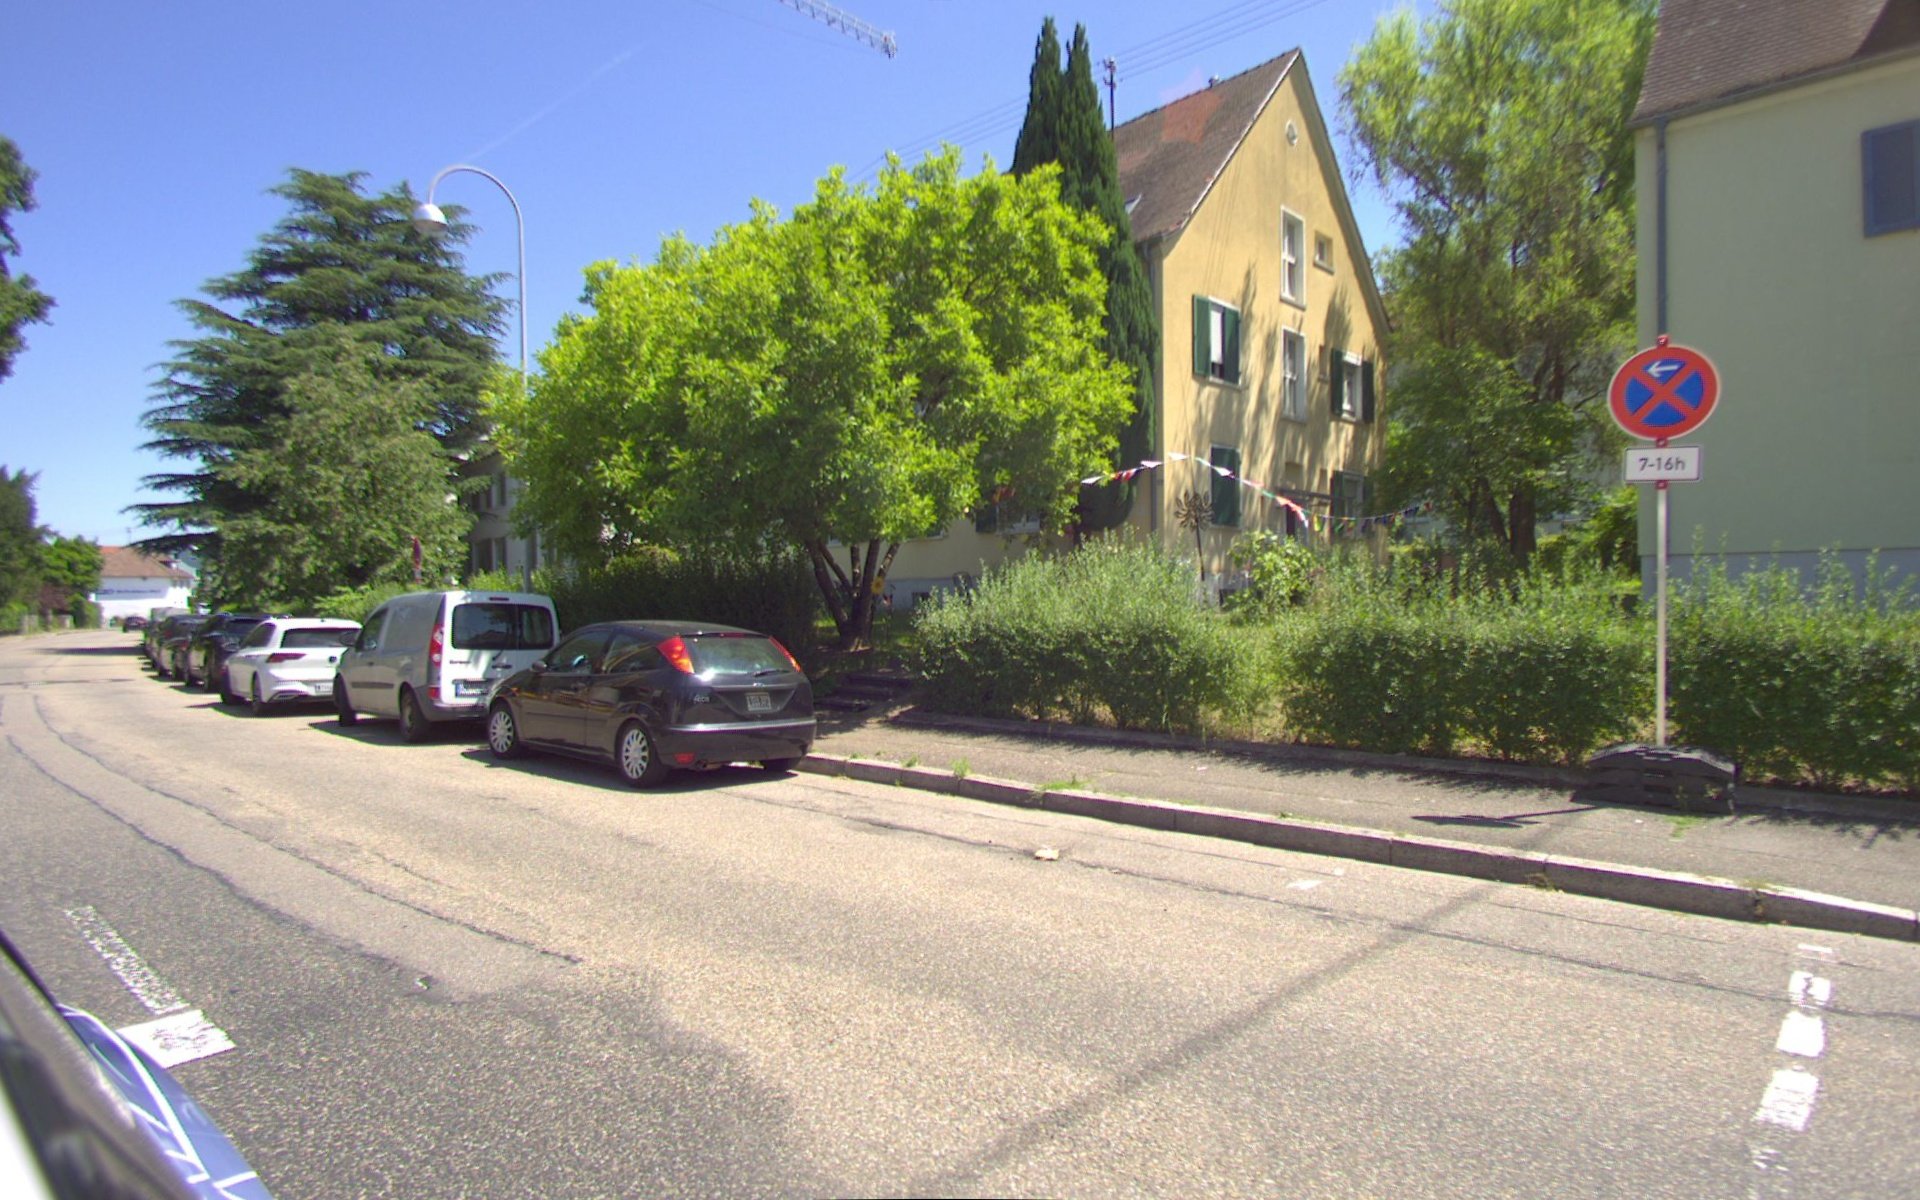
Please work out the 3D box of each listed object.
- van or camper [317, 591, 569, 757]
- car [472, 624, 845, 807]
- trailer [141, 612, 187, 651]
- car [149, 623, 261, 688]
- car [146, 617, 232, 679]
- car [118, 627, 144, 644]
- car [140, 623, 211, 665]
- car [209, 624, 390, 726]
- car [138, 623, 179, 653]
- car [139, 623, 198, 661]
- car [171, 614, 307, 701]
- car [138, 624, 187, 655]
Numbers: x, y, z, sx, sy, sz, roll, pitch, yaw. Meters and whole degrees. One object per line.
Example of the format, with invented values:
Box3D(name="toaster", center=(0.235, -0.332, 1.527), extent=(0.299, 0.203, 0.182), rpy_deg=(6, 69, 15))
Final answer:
Box3D(name="van or camper", center=(-6.762, 0.861, 13.050), extent=(3.986, 1.818, 1.662), rpy_deg=(-1, -2, 44))
Box3D(name="car", center=(-3.043, 0.947, 9.806), extent=(3.925, 1.423, 1.663), rpy_deg=(-1, -2, 42))
Box3D(name="trailer", center=(-42.986, 1.703, 54.624), extent=(1.791, 2.049, 4.007), rpy_deg=(3, -3, -39))
Box3D(name="car", center=(-18.930, 1.334, 25.293), extent=(1.661, 1.487, 4.333), rpy_deg=(2, -2, -44))
Box3D(name="car", center=(-22.315, 1.349, 29.236), extent=(1.660, 1.652, 3.794), rpy_deg=(2, -2, -42))
Box3D(name="car", center=(-79.882, 3.391, 97.573), extent=(1.875, 1.587, 4.148), rpy_deg=(1, -1, -39))
Box3D(name="car", center=(-28.706, 1.570, 37.009), extent=(1.774, 1.453, 3.790), rpy_deg=(2, -2, -41))
Box3D(name="car", center=(-10.875, 1.129, 16.534), extent=(1.661, 1.452, 4.250), rpy_deg=(2, -2, -44))
Box3D(name="car", center=(-45.852, 2.140, 57.862), extent=(1.746, 1.631, 4.557), rpy_deg=(2, -3, -39))
Box3D(name="car", center=(-32.130, 1.661, 41.064), extent=(1.773, 1.453, 4.280), rpy_deg=(2, -2, -39))
Box3D(name="car", center=(-15.231, 1.139, 21.298), extent=(1.661, 1.649, 4.333), rpy_deg=(2, -2, -44))
Box3D(name="car", center=(-39.029, 1.925, 49.543), extent=(1.773, 1.453, 4.485), rpy_deg=(2, -2, -38))
